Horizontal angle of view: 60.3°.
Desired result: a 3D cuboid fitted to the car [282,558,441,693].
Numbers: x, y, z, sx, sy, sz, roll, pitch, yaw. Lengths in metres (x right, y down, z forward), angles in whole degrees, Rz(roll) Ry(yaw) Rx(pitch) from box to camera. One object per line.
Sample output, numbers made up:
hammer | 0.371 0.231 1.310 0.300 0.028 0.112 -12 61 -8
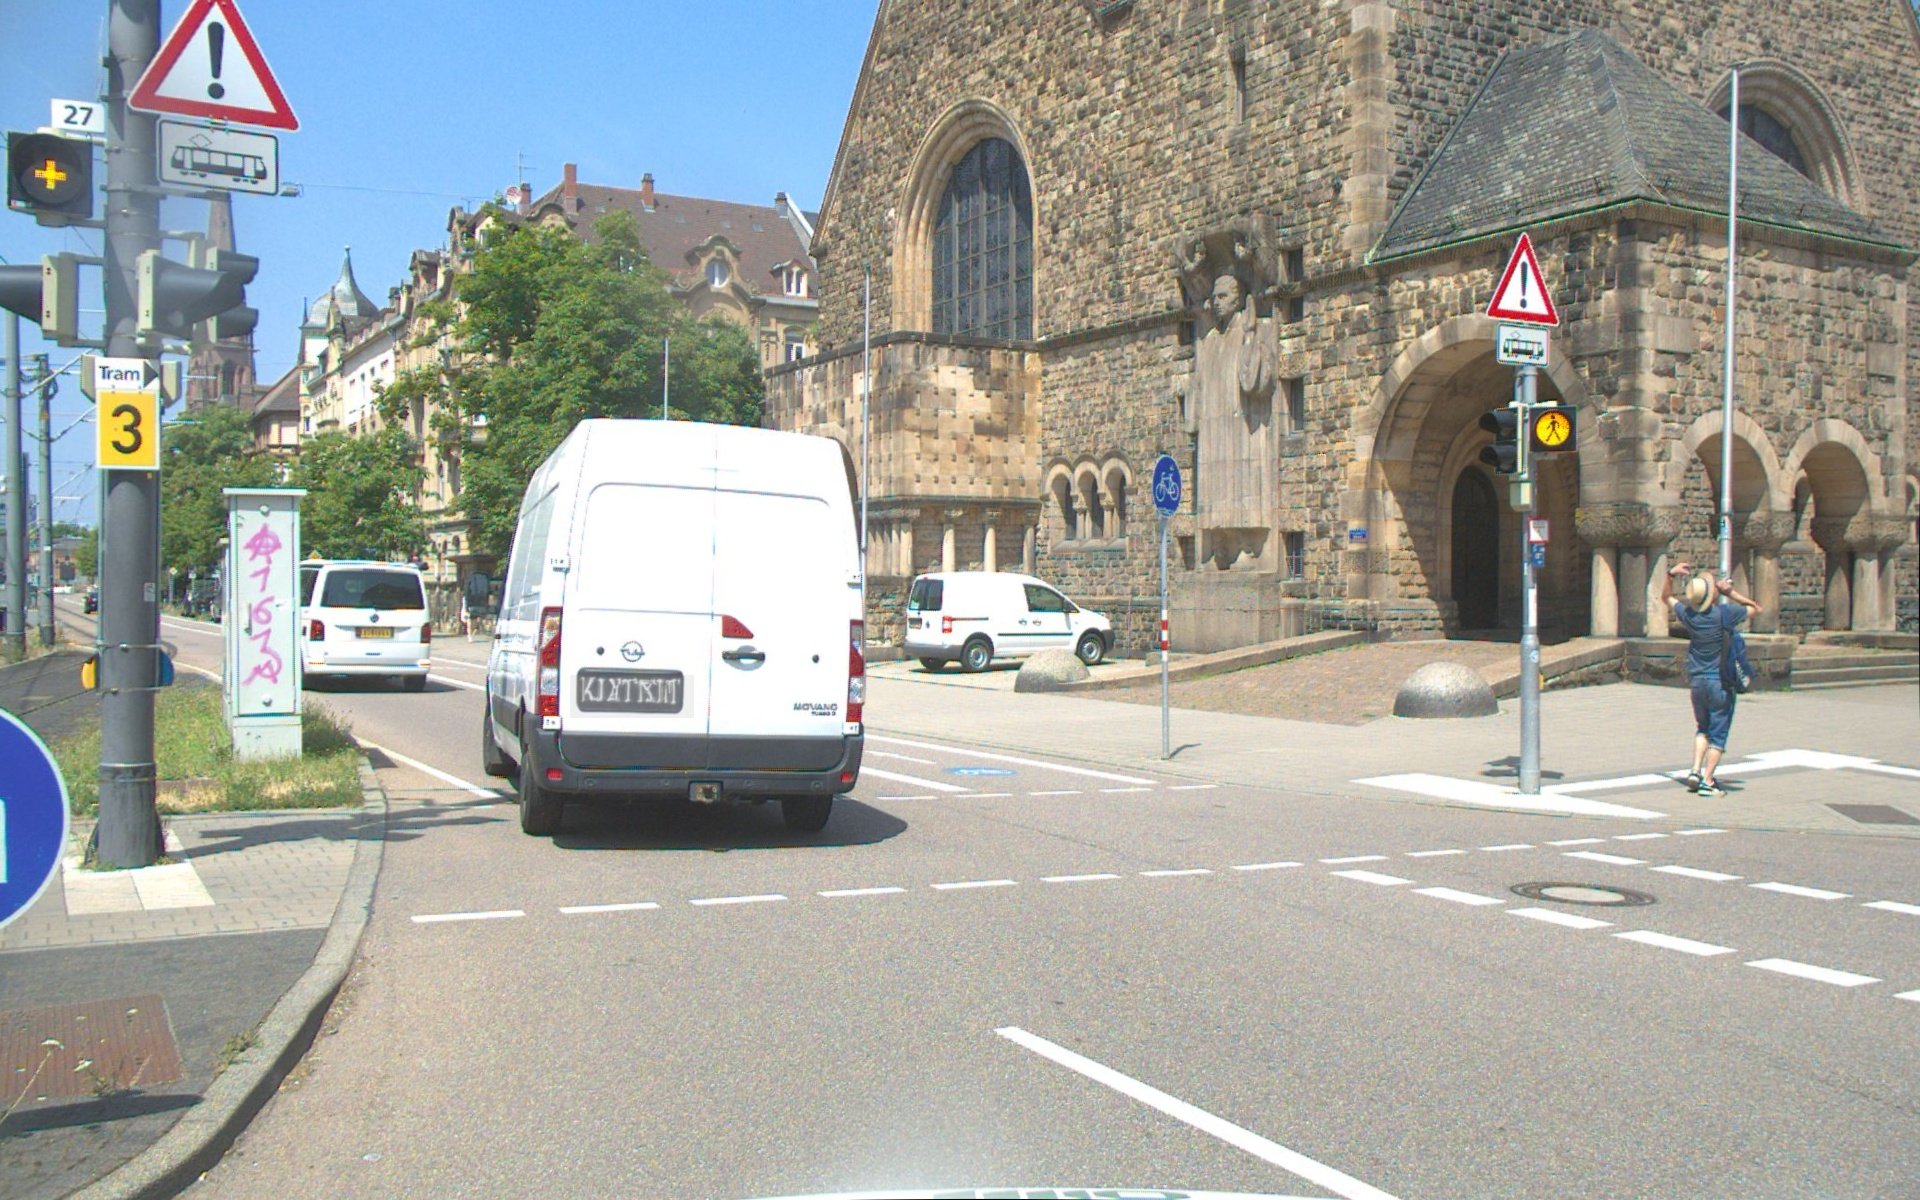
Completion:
car | -9.701 0.387 26.613 1.894 1.978 4.227 1 0 -27

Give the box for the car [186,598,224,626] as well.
car | -45.325 0.689 99.273 1.732 1.606 3.720 1 0 -30

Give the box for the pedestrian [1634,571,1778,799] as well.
pedestrian | 6.294 0.694 13.970 0.732 1.854 0.827 1 -1 -23

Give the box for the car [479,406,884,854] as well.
car | -2.259 0.183 11.968 2.085 2.502 5.026 1 0 -19

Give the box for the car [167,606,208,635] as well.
car | -44.065 1.169 94.297 1.732 1.606 3.720 1 0 -30

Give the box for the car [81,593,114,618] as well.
car | -55.797 0.319 106.995 1.732 1.566 3.720 1 0 -30

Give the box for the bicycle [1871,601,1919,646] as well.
bicycle | 22.549 0.558 38.411 0.696 1.029 2.475 0 0 -28

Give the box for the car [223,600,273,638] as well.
car | -34.061 0.905 79.040 1.732 1.735 3.720 1 0 -30

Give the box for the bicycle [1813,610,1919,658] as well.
bicycle | 21.024 0.758 38.113 0.696 1.029 2.475 0 0 -28

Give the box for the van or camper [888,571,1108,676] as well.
van or camper | 0.761 0.397 31.959 3.949 1.857 1.783 -1 1 -32
